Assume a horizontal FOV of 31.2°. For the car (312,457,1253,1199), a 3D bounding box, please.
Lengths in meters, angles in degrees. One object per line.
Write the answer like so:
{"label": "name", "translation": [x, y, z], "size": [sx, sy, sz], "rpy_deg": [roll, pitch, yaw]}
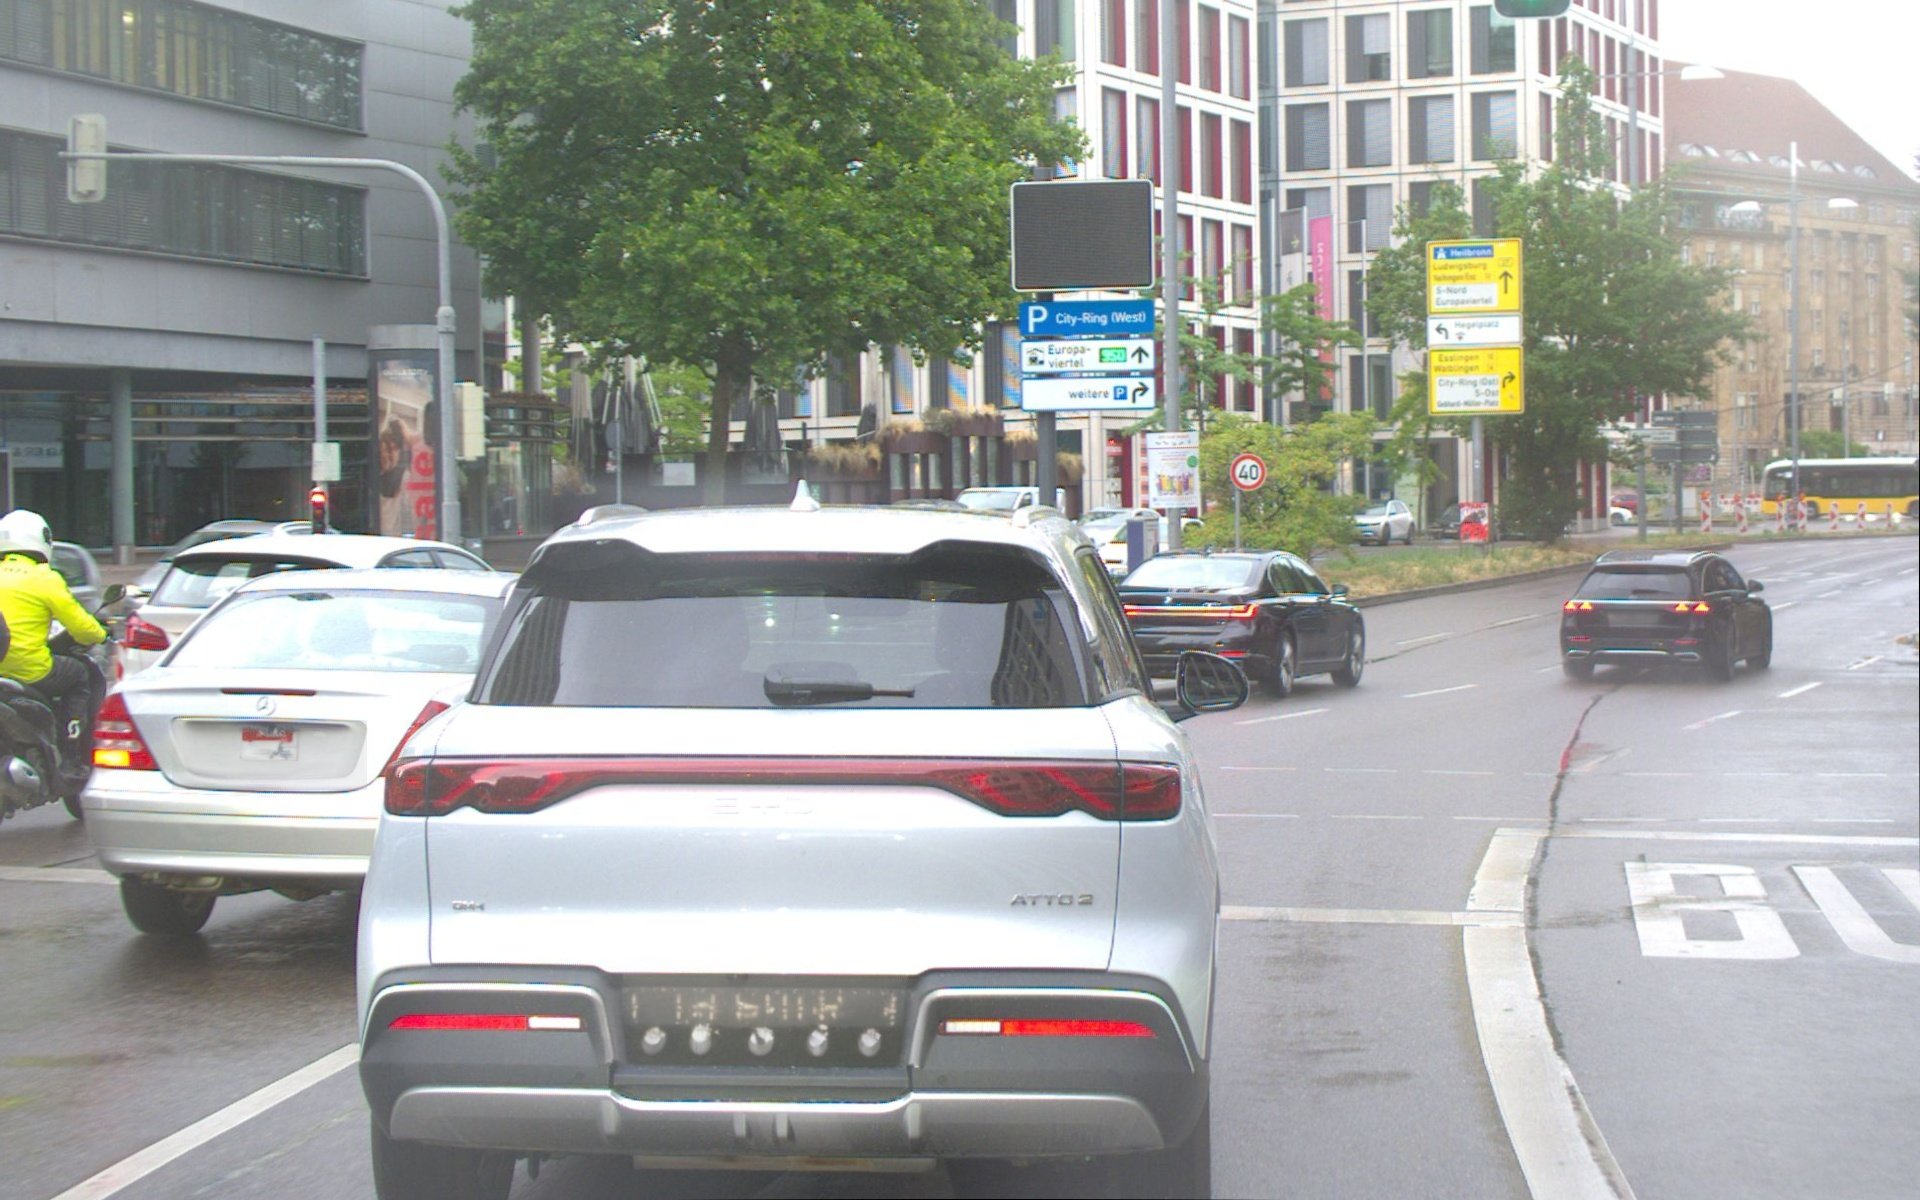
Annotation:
{"label": "car", "translation": [-0.310, 0.569, 8.557], "size": [1.776, 1.673, 4.000], "rpy_deg": [1, 0, 1]}

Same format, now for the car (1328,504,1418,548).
{"label": "car", "translation": [14.286, -2.585, 118.886], "size": [1.996, 1.483, 3.995], "rpy_deg": [0, 2, 24]}

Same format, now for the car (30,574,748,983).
{"label": "car", "translation": [-2.150, 0.617, 14.121], "size": [1.571, 1.402, 4.107], "rpy_deg": [1, 0, 11]}

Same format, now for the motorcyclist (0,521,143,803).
{"label": "motorcyclist", "translation": [-4.738, 0.296, 17.417], "size": [0.770, 1.375, 1.118], "rpy_deg": [1, 0, 9]}

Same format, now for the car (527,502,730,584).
{"label": "car", "translation": [-6.301, -1.130, 66.054], "size": [1.815, 1.505, 5.191], "rpy_deg": [0, 2, 20]}

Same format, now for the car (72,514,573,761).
{"label": "car", "translation": [-4.142, 0.222, 23.011], "size": [1.708, 1.481, 3.997], "rpy_deg": [1, 0, 15]}

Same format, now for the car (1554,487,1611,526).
{"label": "car", "translation": [29.045, -4.358, 160.322], "size": [1.609, 1.735, 3.439], "rpy_deg": [1, 0, 29]}

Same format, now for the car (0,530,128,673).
{"label": "car", "translation": [-9.898, 0.002, 34.205], "size": [1.691, 1.380, 3.866], "rpy_deg": [1, 0, 11]}

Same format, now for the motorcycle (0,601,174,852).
{"label": "motorcycle", "translation": [-4.769, 0.602, 17.412], "size": [0.800, 1.180, 2.027], "rpy_deg": [1, 0, 10]}

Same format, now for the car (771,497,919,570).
{"label": "car", "translation": [-2.479, -1.481, 75.195], "size": [1.633, 1.553, 4.588], "rpy_deg": [0, 2, 20]}

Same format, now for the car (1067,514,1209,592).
{"label": "car", "translation": [3.434, -0.916, 65.608], "size": [1.633, 1.432, 3.904], "rpy_deg": [0, 2, 20]}

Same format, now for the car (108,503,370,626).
{"label": "car", "translation": [-9.684, -0.486, 46.500], "size": [1.645, 1.575, 4.082], "rpy_deg": [1, 1, 18]}

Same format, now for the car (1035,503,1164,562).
{"label": "car", "translation": [3.642, -1.771, 89.096], "size": [1.996, 1.483, 3.995], "rpy_deg": [0, 2, 24]}

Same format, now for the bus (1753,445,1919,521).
{"label": "bus", "translation": [52.870, -6.455, 190.061], "size": [16.985, 4.049, 4.432], "rpy_deg": [1, 0, 24]}

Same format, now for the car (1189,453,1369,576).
{"label": "car", "translation": [5.633, -1.464, 60.203], "size": [1.995, 2.007, 4.844], "rpy_deg": [1, 0, 19]}

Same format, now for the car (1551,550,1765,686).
{"label": "car", "translation": [8.121, 0.196, 39.769], "size": [1.695, 1.481, 3.995], "rpy_deg": [1, 0, 22]}

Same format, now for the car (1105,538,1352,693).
{"label": "car", "translation": [2.811, 0.147, 35.248], "size": [1.572, 1.481, 3.996], "rpy_deg": [1, 0, 19]}
